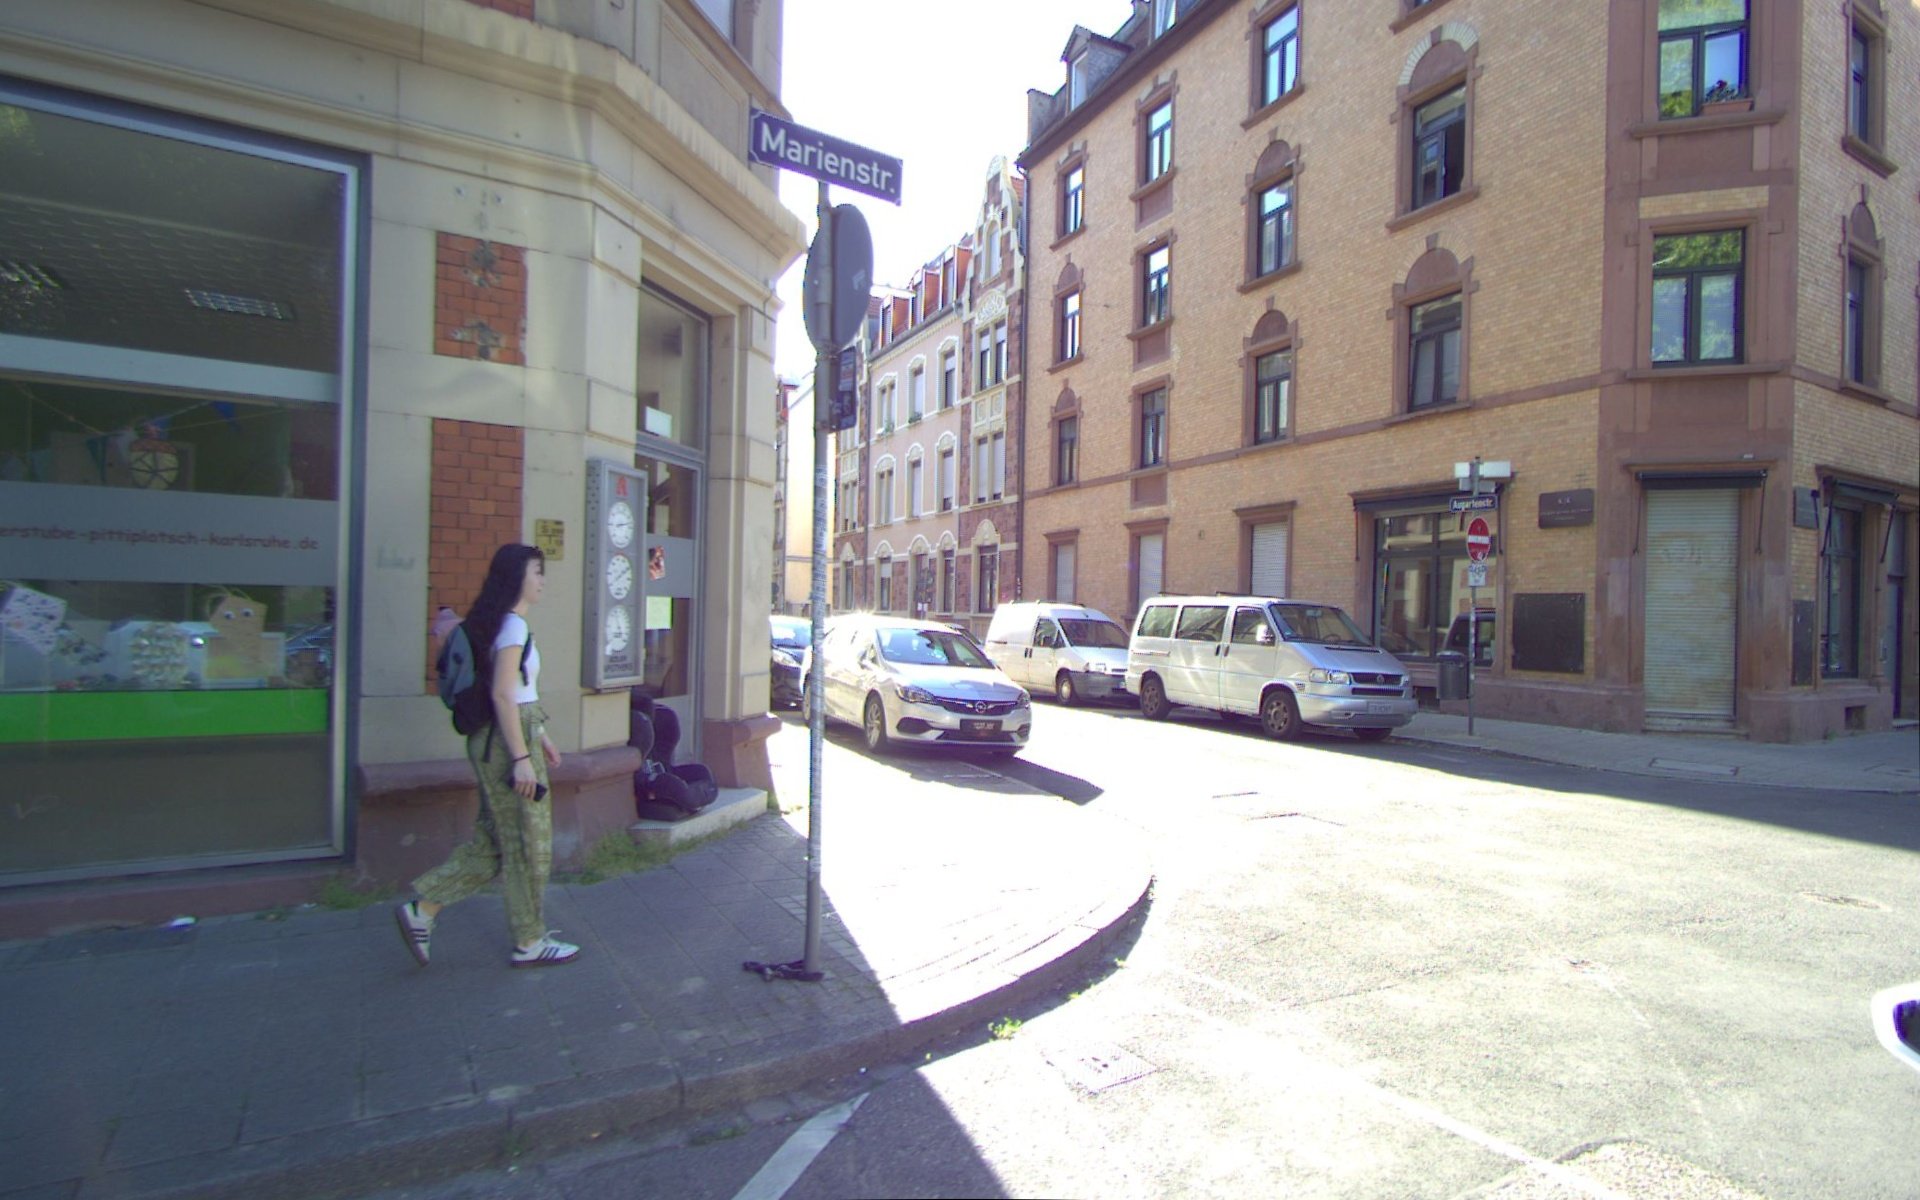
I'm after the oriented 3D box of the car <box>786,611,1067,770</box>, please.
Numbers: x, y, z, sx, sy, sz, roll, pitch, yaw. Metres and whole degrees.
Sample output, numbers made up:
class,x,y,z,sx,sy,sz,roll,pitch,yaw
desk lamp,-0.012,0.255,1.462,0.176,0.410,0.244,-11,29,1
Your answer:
class,x,y,z,sx,sy,sz,roll,pitch,yaw
car,-0.639,0.984,12.329,1.842,1.550,4.415,4,-2,-24

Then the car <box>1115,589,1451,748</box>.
class,x,y,z,sx,sy,sz,roll,pitch,yaw
car,4.435,0.898,14.677,1.999,1.919,4.698,4,-2,-24

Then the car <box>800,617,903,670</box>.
class,x,y,z,sx,sy,sz,roll,pitch,yaw
car,-3.445,1.304,31.149,1.756,1.504,4.334,2,-1,-27

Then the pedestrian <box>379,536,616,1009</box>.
class,x,y,z,sx,sy,sz,roll,pitch,yaw
pedestrian,-1.829,0.625,3.961,0.709,1.666,0.545,4,-1,-31

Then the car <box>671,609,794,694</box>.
class,x,y,z,sx,sy,sz,roll,pitch,yaw
car,-4.810,1.012,20.891,1.748,1.550,3.514,4,-2,-24

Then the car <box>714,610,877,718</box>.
class,x,y,z,sx,sy,sz,roll,pitch,yaw
car,-2.877,1.007,16.951,1.748,1.550,3.670,4,-2,-24

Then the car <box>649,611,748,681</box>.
class,x,y,z,sx,sy,sz,roll,pitch,yaw
car,-6.585,1.101,25.026,1.748,1.550,3.514,4,-2,-24

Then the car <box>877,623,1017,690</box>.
class,x,y,z,sx,sy,sz,roll,pitch,yaw
car,-0.437,1.349,25.029,1.756,1.461,4.334,2,-1,-27

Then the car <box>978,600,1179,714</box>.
class,x,y,z,sx,sy,sz,roll,pitch,yaw
car,2.170,1.035,19.696,1.913,1.919,4.338,4,-2,-23
